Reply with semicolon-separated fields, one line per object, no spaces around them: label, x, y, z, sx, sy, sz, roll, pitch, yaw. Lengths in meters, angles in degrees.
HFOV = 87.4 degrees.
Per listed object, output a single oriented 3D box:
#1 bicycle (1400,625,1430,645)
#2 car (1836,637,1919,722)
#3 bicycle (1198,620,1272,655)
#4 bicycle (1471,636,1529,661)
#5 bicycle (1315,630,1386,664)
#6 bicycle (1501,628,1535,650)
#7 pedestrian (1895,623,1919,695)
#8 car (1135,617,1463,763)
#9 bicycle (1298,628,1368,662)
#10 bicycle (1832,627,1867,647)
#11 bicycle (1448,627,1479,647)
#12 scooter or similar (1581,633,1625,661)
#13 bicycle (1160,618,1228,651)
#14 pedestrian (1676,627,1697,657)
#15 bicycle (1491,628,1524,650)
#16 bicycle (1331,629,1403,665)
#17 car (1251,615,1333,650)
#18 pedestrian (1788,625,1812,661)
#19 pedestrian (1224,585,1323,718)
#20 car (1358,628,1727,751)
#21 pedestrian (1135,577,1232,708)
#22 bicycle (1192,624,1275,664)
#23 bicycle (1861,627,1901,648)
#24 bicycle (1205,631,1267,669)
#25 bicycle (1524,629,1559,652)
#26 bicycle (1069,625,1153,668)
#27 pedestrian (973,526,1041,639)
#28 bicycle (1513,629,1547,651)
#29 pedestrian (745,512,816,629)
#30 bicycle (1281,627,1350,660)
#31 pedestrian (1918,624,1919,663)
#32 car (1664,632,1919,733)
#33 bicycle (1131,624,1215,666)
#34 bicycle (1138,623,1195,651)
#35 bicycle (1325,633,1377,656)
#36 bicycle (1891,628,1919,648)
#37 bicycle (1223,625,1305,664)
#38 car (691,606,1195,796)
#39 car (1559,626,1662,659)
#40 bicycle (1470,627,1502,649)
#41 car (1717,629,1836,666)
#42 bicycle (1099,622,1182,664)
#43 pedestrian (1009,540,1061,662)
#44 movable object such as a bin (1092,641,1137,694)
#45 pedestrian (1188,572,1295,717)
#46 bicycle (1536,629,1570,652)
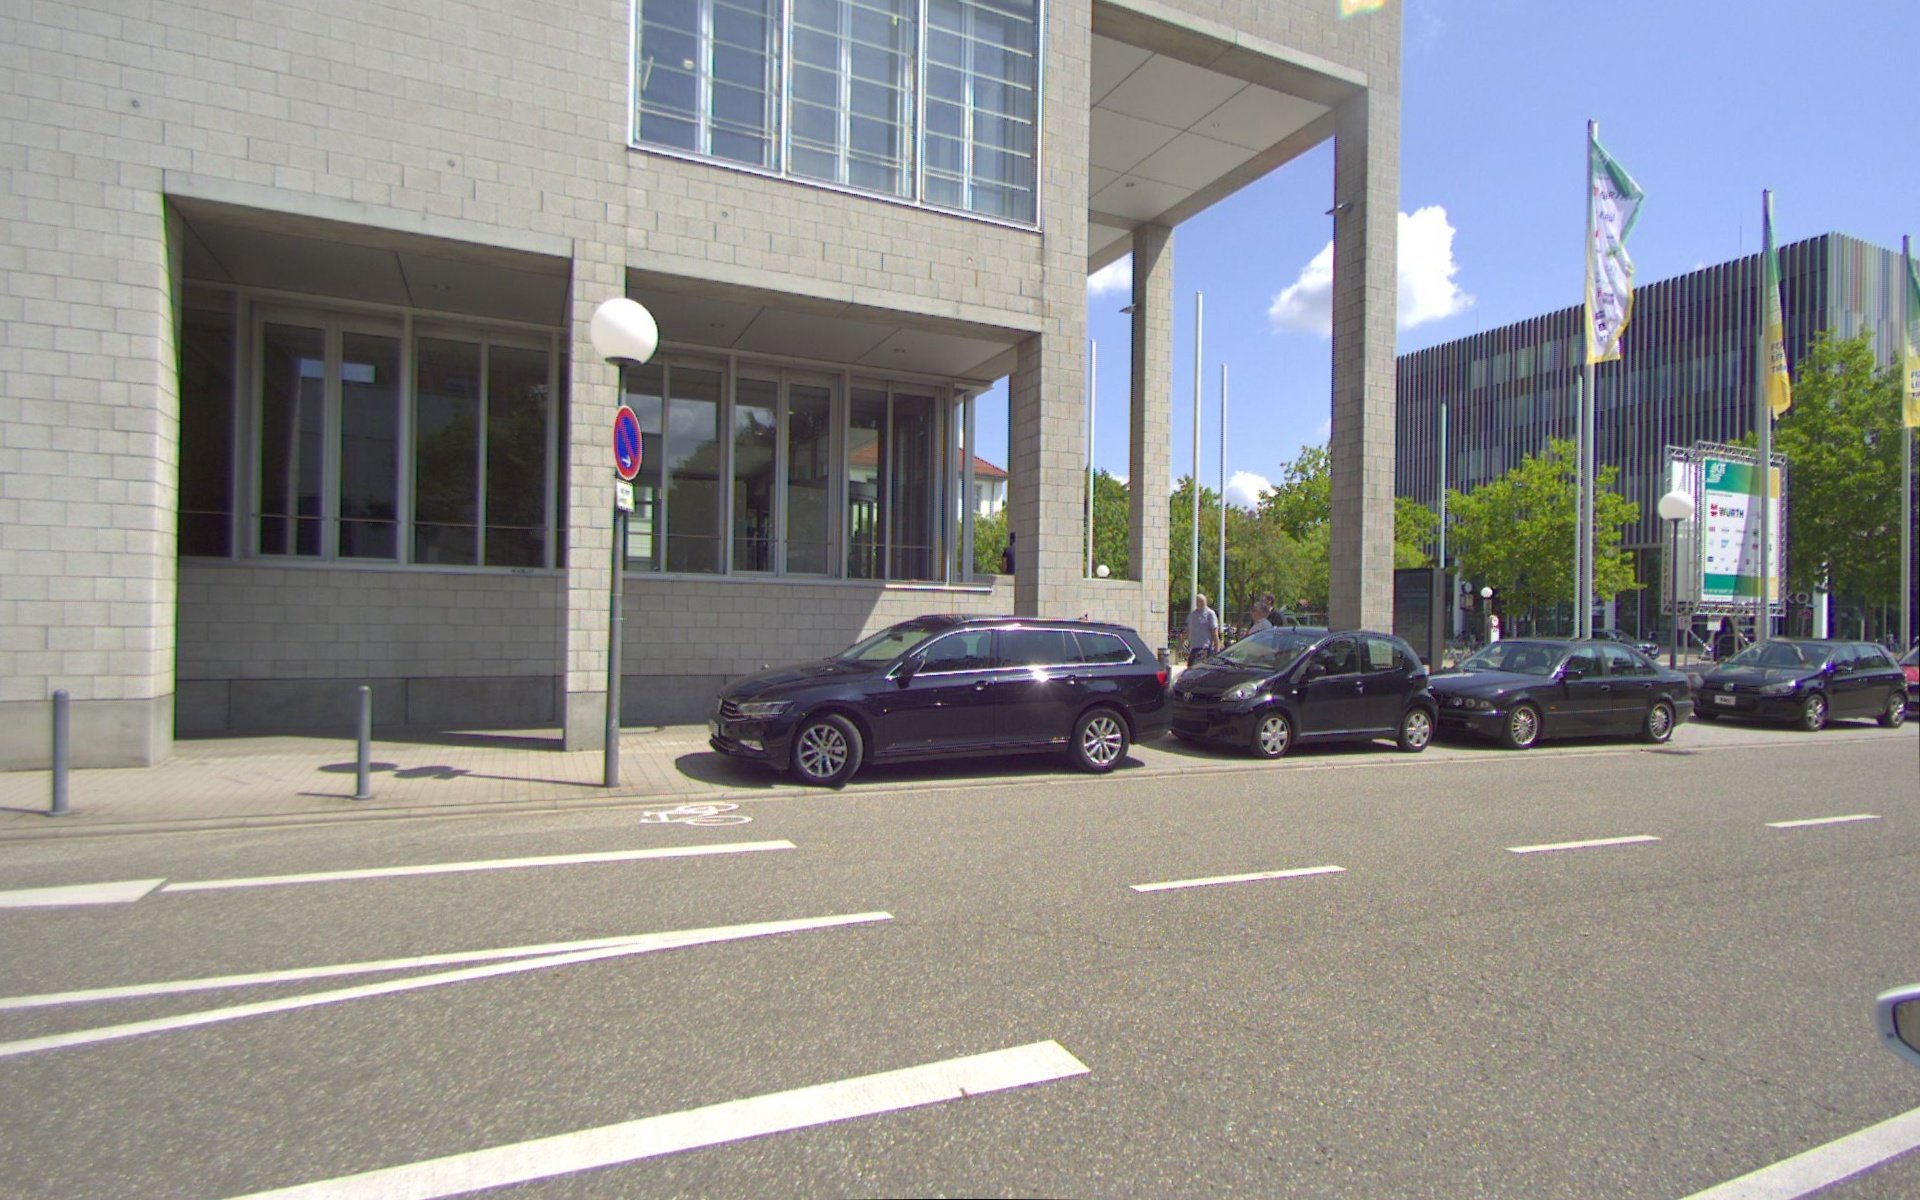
bicycle;45.083;3.466;99.554;2.909;1.863;0.957;2;0;-23
car;19.139;1.522;19.538;3.857;1.487;1.672;2;1;-24
bicycle;11.767;1.613;42.987;2.903;1.430;1.062;2;0;-17
bicycle;26.423;2.362;49.200;0.656;1.128;2.600;2;0;-26
bicycle;16.943;2.038;43.527;2.906;1.430;1.013;2;0;-20
bicycle;49.353;3.480;88.869;2.908;1.863;0.958;2;0;-22
pedestrian;25.734;1.564;26.796;1.072;1.875;0.718;1;1;-21
car;4.133;1.019;12.240;3.656;1.487;1.634;1;1;-25
bicycle;16.574;2.001;44.587;2.906;1.430;1.061;2;0;-20
bicycle;59.188;2.440;66.871;1.180;1.253;2.945;1;-1;31
bicycle;47.242;3.474;94.201;2.910;1.863;0.957;2;0;-24
scooter or similar;28.899;2.100;45.180;0.485;1.212;1.727;1;-1;-18
bicycle;10.798;1.585;46.306;2.903;1.430;1.062;2;0;-17
pedestrian;57.395;3.317;79.374;1.001;2.377;0.970;2;0;-25
bicycle;49.000;3.480;89.877;2.908;1.863;0.958;2;0;-22
bicycle;17.246;1.999;42.542;2.906;1.430;1.013;2;0;-20
car;19.410;1.865;58.951;1.841;1.965;4.745;1;-1;-26
pedestrian;62.708;3.209;74.983;1.001;2.599;0.970;2;0;-25
pedestrian;5.016;0.803;16.111;1.150;2.040;0.980;1;-1;-29
car;8.148;1.172;14.022;4.945;1.396;1.855;2;1;-23
pedestrian;3.607;0.675;16.249;1.150;2.040;0.980;1;-1;-29
bicycle;10.708;1.685;39.394;2.910;1.430;1.141;1;-1;44
bicycle;60.473;2.440;66.008;1.354;1.253;2.945;1;-1;31
bicycle;9.324;1.686;33.867;2.066;1.232;0.647;2;0;-25
bicycle;50.191;3.482;86.720;2.908;1.863;0.958;2;0;-22
bicycle;5.532;1.691;36.880;2.910;1.430;1.141;1;-1;44
pedestrian;0.879;-0.318;18.865;0.898;2.040;0.975;2;0;-25
bicycle;49.786;3.481;87.747;2.908;1.863;0.958;2;0;-22
pedestrian;-3.244;-0.511;18.161;0.735;2.040;0.975;1;0;45
bicycle;16.164;1.992;45.686;2.906;1.430;1.061;2;0;-20
pedestrian;64.948;2.918;67.239;0.958;2.599;1.013;1;0;29
car;14.428;1.376;17.375;4.137;1.487;1.743;2;1;-23
bicycle;8.054;1.686;38.074;2.910;1.430;1.141;1;-1;44
bicycle;11.235;2.020;54.620;2.906;1.430;1.061;2;0;-20
bicycle;20.214;2.301;51.872;2.919;1.165;0.992;2;0;-33
bicycle;61.676;2.449;65.249;1.180;1.253;2.945;1;-1;31
bicycle;12.122;1.759;40.141;2.910;1.430;1.141;1;-1;44
car;-0.133;0.880;9.982;4.655;1.487;1.854;2;1;-25
car;36.401;2.357;56.367;1.629;1.683;4.799;1;-1;-23
bicycle;48.158;3.477;91.998;2.909;1.863;0.957;2;0;-23
car;39.711;2.278;48.993;1.629;1.683;4.272;1;-1;-23
bicycle;6.741;1.588;37.644;2.910;1.430;1.141;1;-1;44
pedestrian;1.547;0.031;20.693;0.748;2.454;0.735;0;-1;39
movable object such as a bin;2.876;1.258;18.738;0.587;0.942;0.574;2;0;-24
pedestrian;4.172;0.648;14.917;1.150;2.040;0.980;1;-1;-29
bicycle;50.584;3.483;85.672;2.908;1.863;0.957;2;0;-22
